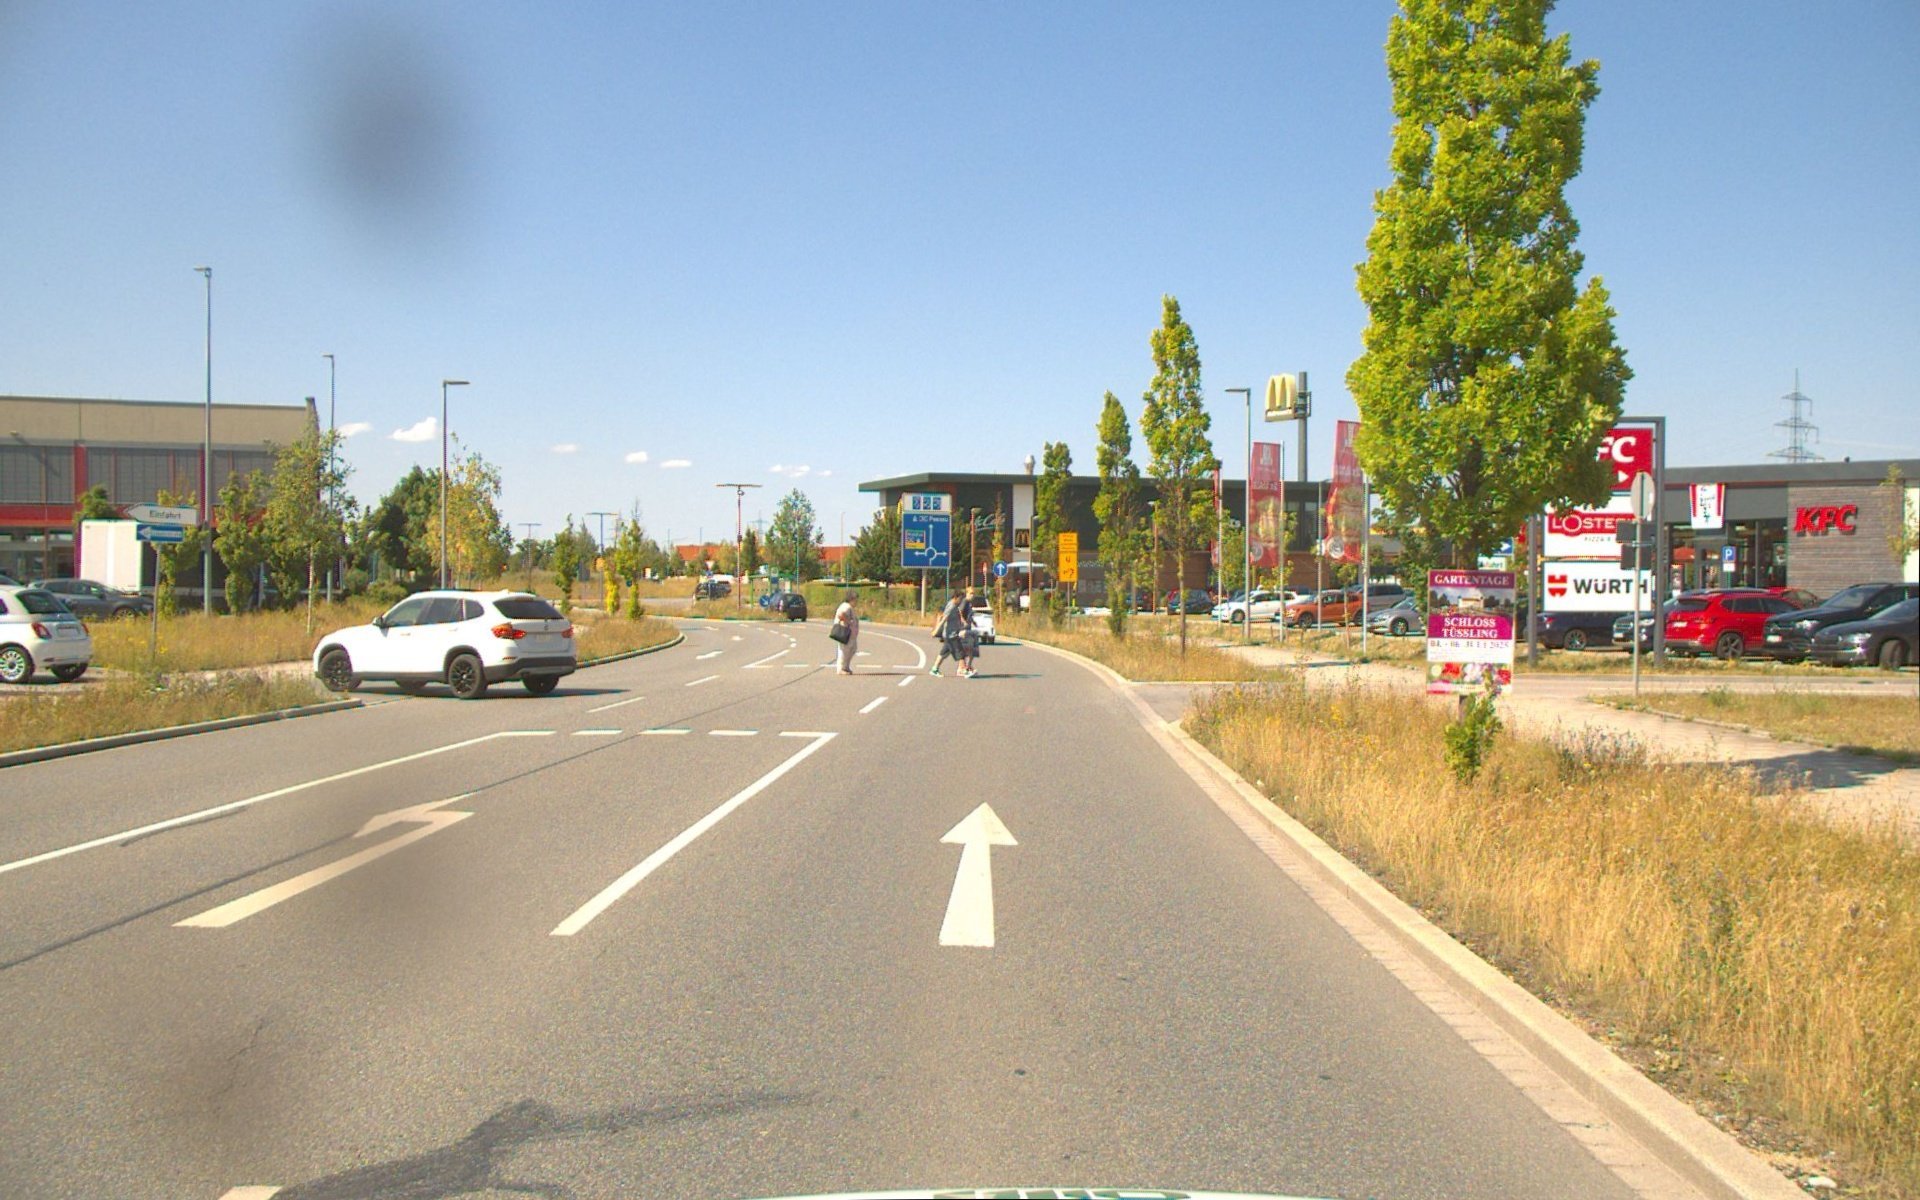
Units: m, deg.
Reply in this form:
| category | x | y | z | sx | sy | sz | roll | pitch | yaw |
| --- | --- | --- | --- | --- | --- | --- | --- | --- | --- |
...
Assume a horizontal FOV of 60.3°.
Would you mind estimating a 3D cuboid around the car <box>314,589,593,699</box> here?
| category | x | y | z | sx | sy | sz | roll | pitch | yaw |
| --- | --- | --- | --- | --- | --- | --- | --- | --- | --- |
| car | -7.839 | 0.618 | 25.519 | 4.136 | 1.574 | 1.913 | 0 | 0 | 32 |

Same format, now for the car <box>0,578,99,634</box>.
| category | x | y | z | sx | sy | sz | roll | pitch | yaw |
| --- | --- | --- | --- | --- | --- | --- | --- | --- | --- |
| car | -25.773 | 0.154 | 44.248 | 4.487 | 1.484 | 1.836 | 0 | 0 | -6 |

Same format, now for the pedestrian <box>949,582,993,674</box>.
| category | x | y | z | sx | sy | sz | roll | pitch | yaw |
| --- | --- | --- | --- | --- | --- | --- | --- | --- | --- |
| pedestrian | 0.206 | 0.509 | 30.404 | 0.784 | 1.658 | 0.805 | 1 | 0 | 0 |

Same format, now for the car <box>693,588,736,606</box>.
| category | x | y | z | sx | sy | sz | roll | pitch | yaw |
| --- | --- | --- | --- | --- | --- | --- | --- | --- | --- |
| car | -21.018 | -0.273 | 141.508 | 1.952 | 1.465 | 4.001 | 0 | 1 | 20 |

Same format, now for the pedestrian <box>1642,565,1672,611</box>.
| category | x | y | z | sx | sy | sz | roll | pitch | yaw |
| --- | --- | --- | --- | --- | --- | --- | --- | --- | --- |
| pedestrian | 31.139 | -0.554 | 73.918 | 0.899 | 2.049 | 0.887 | 0 | 0 | -18 |

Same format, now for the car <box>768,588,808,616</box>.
| category | x | y | z | sx | sy | sz | roll | pitch | yaw |
| --- | --- | --- | --- | --- | --- | --- | --- | --- | --- |
| car | -9.378 | 0.097 | 89.941 | 1.590 | 1.459 | 3.777 | 0 | 0 | -15 |

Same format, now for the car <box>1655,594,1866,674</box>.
| category | x | y | z | sx | sy | sz | roll | pitch | yaw |
| --- | --- | --- | --- | --- | --- | --- | --- | --- | --- |
| car | 19.150 | 0.781 | 39.645 | 4.324 | 1.765 | 1.788 | -1 | 1 | -9 |

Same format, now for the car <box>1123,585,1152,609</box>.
| category | x | y | z | sx | sy | sz | roll | pitch | yaw |
| --- | --- | --- | --- | --- | --- | --- | --- | --- | --- |
| car | 12.237 | -0.236 | 113.623 | 1.754 | 1.632 | 4.004 | 0 | 0 | 9 |

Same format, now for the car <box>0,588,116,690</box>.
| category | x | y | z | sx | sy | sz | roll | pitch | yaw |
| --- | --- | --- | --- | --- | --- | --- | --- | --- | --- |
| car | -16.008 | 0.599 | 26.572 | 3.904 | 1.574 | 1.918 | 0 | 0 | 2 |

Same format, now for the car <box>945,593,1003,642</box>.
| category | x | y | z | sx | sy | sz | roll | pitch | yaw |
| --- | --- | --- | --- | --- | --- | --- | --- | --- | --- |
| car | 0.389 | 0.502 | 51.315 | 1.584 | 1.459 | 3.790 | 0 | 0 | -3 |

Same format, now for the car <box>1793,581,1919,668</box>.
| category | x | y | z | sx | sy | sz | roll | pitch | yaw |
| --- | --- | --- | --- | --- | --- | --- | --- | --- | --- |
| car | 18.967 | 0.440 | 32.418 | 4.320 | 1.594 | 1.993 | -1 | 1 | -6 |

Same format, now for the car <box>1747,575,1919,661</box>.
| category | x | y | z | sx | sy | sz | roll | pitch | yaw |
| --- | --- | --- | --- | --- | --- | --- | --- | --- | --- |
| car | 20.248 | 0.358 | 36.539 | 4.885 | 1.765 | 1.937 | -1 | 1 | -6 |

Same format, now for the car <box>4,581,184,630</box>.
| category | x | y | z | sx | sy | sz | roll | pitch | yaw |
| --- | --- | --- | --- | --- | --- | --- | --- | --- | --- |
| car | -25.840 | 0.157 | 49.475 | 4.338 | 1.407 | 1.973 | 0 | 0 | -6 |

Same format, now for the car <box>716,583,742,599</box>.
| category | x | y | z | sx | sy | sz | roll | pitch | yaw |
| --- | --- | --- | --- | --- | --- | --- | --- | --- | --- |
| car | -22.152 | -0.888 | 158.749 | 1.952 | 1.489 | 4.001 | 0 | 1 | 1 |

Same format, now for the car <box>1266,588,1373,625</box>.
| category | x | y | z | sx | sy | sz | roll | pitch | yaw |
| --- | --- | --- | --- | --- | --- | --- | --- | --- | --- |
| car | 15.604 | 0.270 | 71.834 | 4.134 | 1.516 | 1.862 | -1 | 1 | -15 |

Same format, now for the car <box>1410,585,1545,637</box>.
| category | x | y | z | sx | sy | sz | roll | pitch | yaw |
| --- | --- | --- | --- | --- | --- | --- | --- | --- | --- |
| car | 17.937 | 0.355 | 57.449 | 4.075 | 1.694 | 1.866 | -1 | 1 | -7 |

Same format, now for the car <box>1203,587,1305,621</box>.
| category | x | y | z | sx | sy | sz | roll | pitch | yaw |
| --- | --- | --- | --- | --- | --- | --- | --- | --- | --- |
| car | 14.065 | 0.165 | 79.173 | 4.450 | 1.516 | 1.862 | -1 | 1 | -15 |

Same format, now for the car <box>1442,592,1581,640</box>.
| category | x | y | z | sx | sy | sz | roll | pitch | yaw |
| --- | --- | --- | --- | --- | --- | --- | --- | --- | --- |
| car | 18.368 | 0.502 | 55.111 | 4.082 | 1.474 | 1.785 | -1 | 1 | -13 |

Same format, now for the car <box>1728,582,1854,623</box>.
| category | x | y | z | sx | sy | sz | roll | pitch | yaw |
| --- | --- | --- | --- | --- | --- | --- | --- | --- | --- |
| car | 32.019 | 0.072 | 63.739 | 4.491 | 1.456 | 1.856 | -1 | 1 | -22 |

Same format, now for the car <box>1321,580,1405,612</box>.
| category | x | y | z | sx | sy | sz | roll | pitch | yaw |
| --- | --- | --- | --- | --- | --- | --- | --- | --- | --- |
| car | 21.526 | -0.229 | 88.334 | 4.098 | 1.664 | 1.779 | -1 | 0 | -23 |

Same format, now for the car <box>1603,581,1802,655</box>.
| category | x | y | z | sx | sy | sz | roll | pitch | yaw |
| --- | --- | --- | --- | --- | --- | --- | --- | --- | --- |
| car | 18.950 | 0.446 | 42.313 | 4.318 | 1.765 | 1.790 | -1 | 1 | -3 |

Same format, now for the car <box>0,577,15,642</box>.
| category | x | y | z | sx | sy | sz | roll | pitch | yaw |
| --- | --- | --- | --- | --- | --- | --- | --- | --- | --- |
| car | -25.116 | 0.228 | 39.015 | 4.518 | 1.538 | 1.836 | 0 | 0 | -6 |

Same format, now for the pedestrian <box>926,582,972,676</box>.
| category | x | y | z | sx | sy | sz | roll | pitch | yaw |
| --- | --- | --- | --- | --- | --- | --- | --- | --- | --- |
| pedestrian | -0.200 | 0.514 | 29.825 | 0.792 | 1.657 | 0.866 | 1 | 0 | 0 |

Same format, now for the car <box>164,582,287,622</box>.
| category | x | y | z | sx | sy | sz | roll | pitch | yaw |
| --- | --- | --- | --- | --- | --- | --- | --- | --- | --- |
| car | -29.514 | 0.059 | 66.570 | 4.298 | 1.579 | 1.829 | 0 | 0 | -17 |

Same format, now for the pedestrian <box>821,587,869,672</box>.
| category | x | y | z | sx | sy | sz | roll | pitch | yaw |
| --- | --- | --- | --- | --- | --- | --- | --- | --- | --- |
| pedestrian | -2.071 | 0.524 | 29.927 | 0.776 | 1.496 | 0.949 | 1 | 0 | 0 |

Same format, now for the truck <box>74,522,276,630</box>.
| category | x | y | z | sx | sy | sz | roll | pitch | yaw |
| --- | --- | --- | --- | --- | --- | --- | --- | --- | --- |
| truck | -27.319 | -0.796 | 58.002 | 2.267 | 3.525 | 7.501 | 0 | 0 | 12 |

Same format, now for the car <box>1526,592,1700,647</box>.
| category | x | y | z | sx | sy | sz | roll | pitch | yaw |
| --- | --- | --- | --- | --- | --- | --- | --- | --- | --- |
| car | 18.509 | 0.554 | 47.051 | 4.311 | 1.474 | 1.793 | -1 | 1 | 11 |

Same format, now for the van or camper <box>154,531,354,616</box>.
| category | x | y | z | sx | sy | sz | roll | pitch | yaw |
| --- | --- | --- | --- | --- | --- | --- | --- | --- | --- |
| van or camper | -30.126 | -1.124 | 70.872 | 7.567 | 3.529 | 2.545 | 0 | 0 | -16 |

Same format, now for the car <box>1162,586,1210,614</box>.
| category | x | y | z | sx | sy | sz | roll | pitch | yaw |
| --- | --- | --- | --- | --- | --- | --- | --- | --- | --- |
| car | 12.254 | 0.003 | 89.505 | 1.662 | 1.487 | 4.169 | 0 | 0 | 21 |

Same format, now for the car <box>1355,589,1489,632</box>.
| category | x | y | z | sx | sy | sz | roll | pitch | yaw |
| --- | --- | --- | --- | --- | --- | --- | --- | --- | --- |
| car | 17.311 | 0.375 | 62.048 | 4.473 | 1.516 | 1.864 | -1 | 1 | -11 |

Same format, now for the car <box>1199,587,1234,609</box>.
| category | x | y | z | sx | sy | sz | roll | pitch | yaw |
| --- | --- | --- | --- | --- | --- | --- | --- | --- | --- |
| car | 17.973 | -0.160 | 115.864 | 1.755 | 1.539 | 4.002 | 0 | 0 | 19 |
